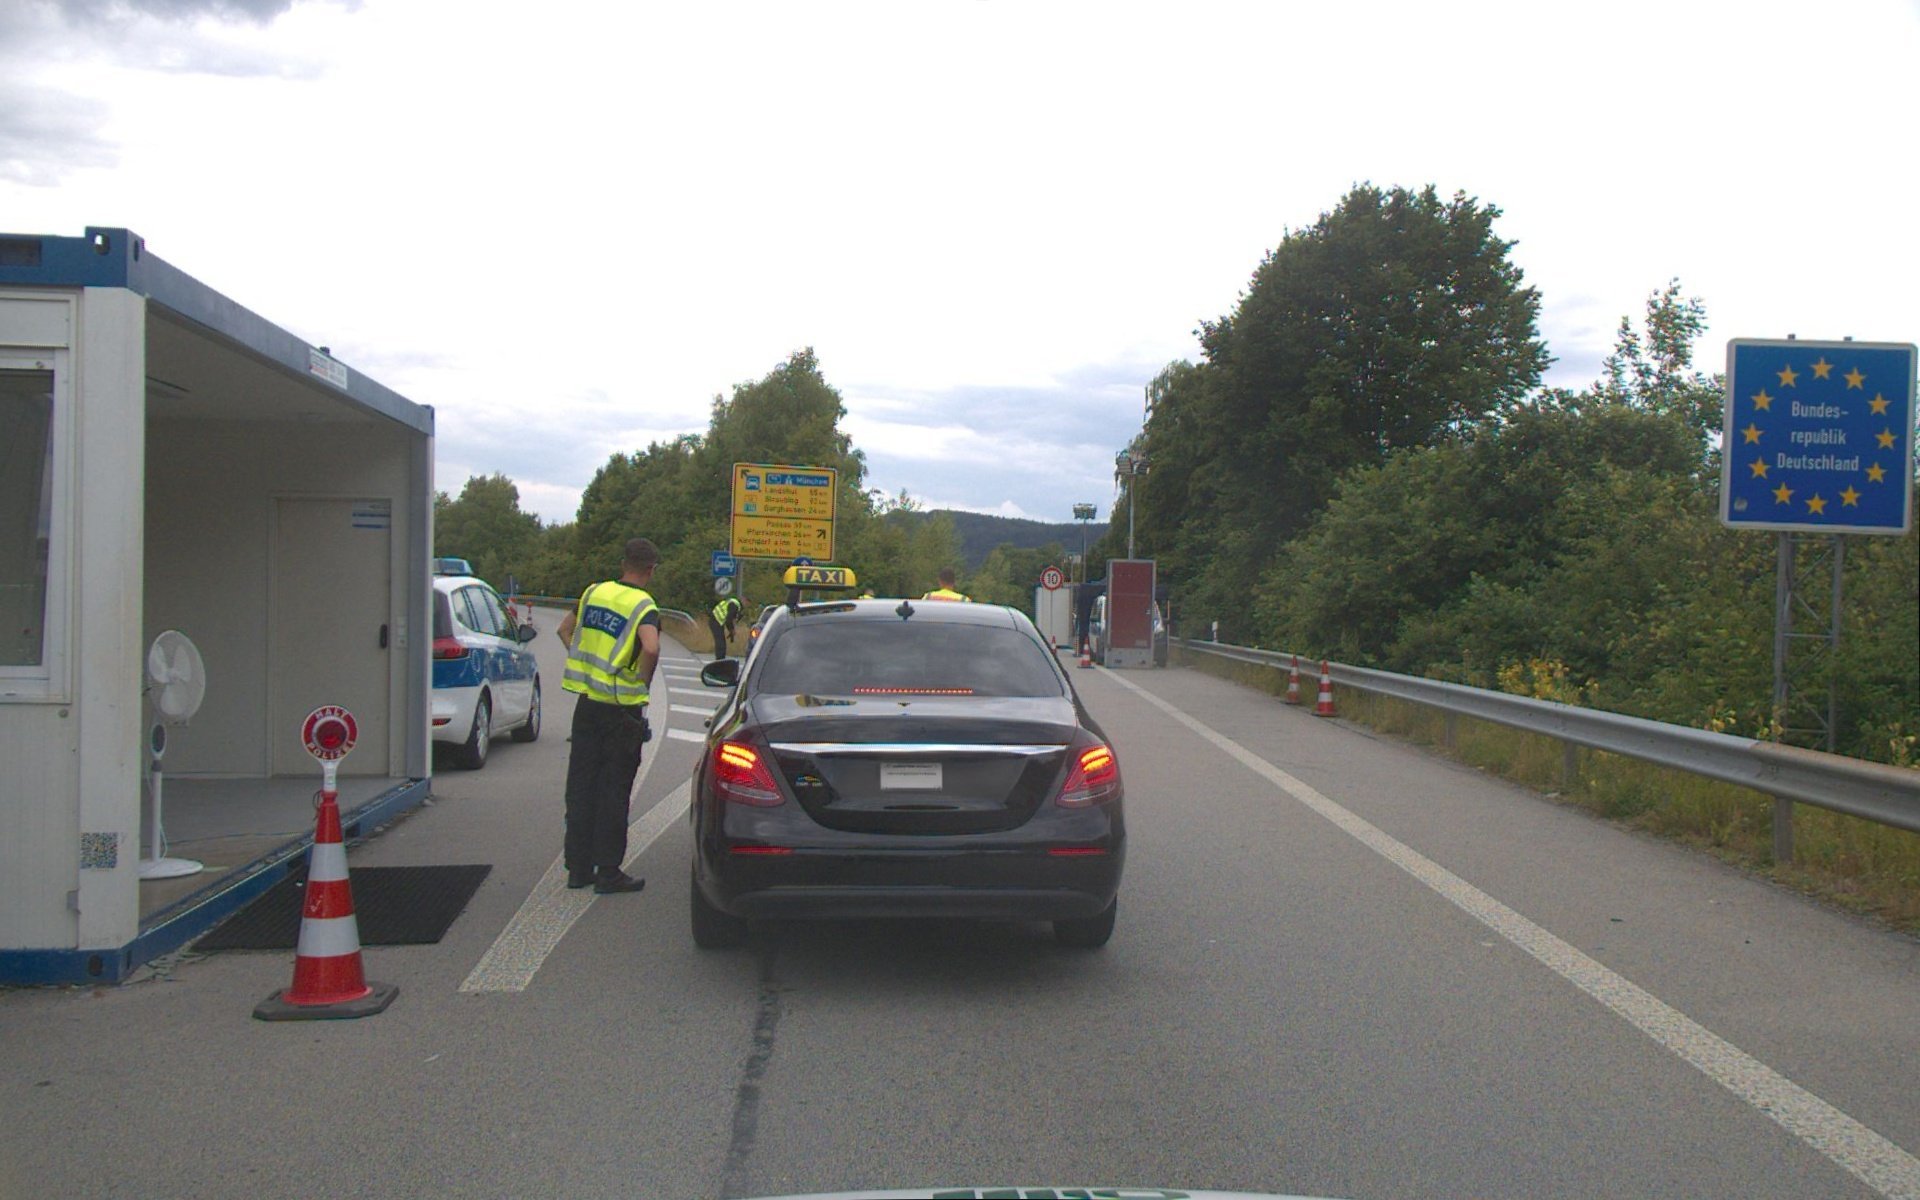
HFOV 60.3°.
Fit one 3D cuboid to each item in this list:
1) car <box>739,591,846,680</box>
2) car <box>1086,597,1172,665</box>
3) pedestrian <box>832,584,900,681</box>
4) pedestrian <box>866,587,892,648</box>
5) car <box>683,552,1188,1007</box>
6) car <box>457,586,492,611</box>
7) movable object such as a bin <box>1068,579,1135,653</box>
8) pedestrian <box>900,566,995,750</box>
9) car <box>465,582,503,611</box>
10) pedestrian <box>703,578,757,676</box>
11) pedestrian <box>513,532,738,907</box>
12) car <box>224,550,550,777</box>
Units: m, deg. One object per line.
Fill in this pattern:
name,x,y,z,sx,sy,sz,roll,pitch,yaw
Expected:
car,-3.066,0.612,30.977,1.818,1.524,4.253,1,0,-4
car,4.639,0.816,46.115,1.877,1.707,5.083,3,0,1
pedestrian,-1.709,0.580,30.004,0.900,1.727,0.903,1,-1,-32
pedestrian,-2.671,0.574,54.341,0.650,1.995,0.760,0,0,15
car,-0.279,0.644,8.171,1.819,1.623,4.370,1,0,-6
car,-30.899,-0.110,105.262,1.828,1.524,4.231,1,0,-20
movable object such as a bin,4.659,0.504,54.959,1.952,2.320,4.168,1,0,1
pedestrian,-0.123,0.589,17.316,0.795,1.862,0.810,0,0,16
car,-25.741,-0.197,89.527,1.825,1.524,4.239,1,0,-15
pedestrian,-4.287,0.494,30.864,0.893,1.800,0.911,1,0,-4
pedestrian,-1.666,0.557,8.273,0.747,1.748,0.815,0,0,36
car,-5.005,0.500,15.045,1.832,1.774,4.004,1,0,-5
